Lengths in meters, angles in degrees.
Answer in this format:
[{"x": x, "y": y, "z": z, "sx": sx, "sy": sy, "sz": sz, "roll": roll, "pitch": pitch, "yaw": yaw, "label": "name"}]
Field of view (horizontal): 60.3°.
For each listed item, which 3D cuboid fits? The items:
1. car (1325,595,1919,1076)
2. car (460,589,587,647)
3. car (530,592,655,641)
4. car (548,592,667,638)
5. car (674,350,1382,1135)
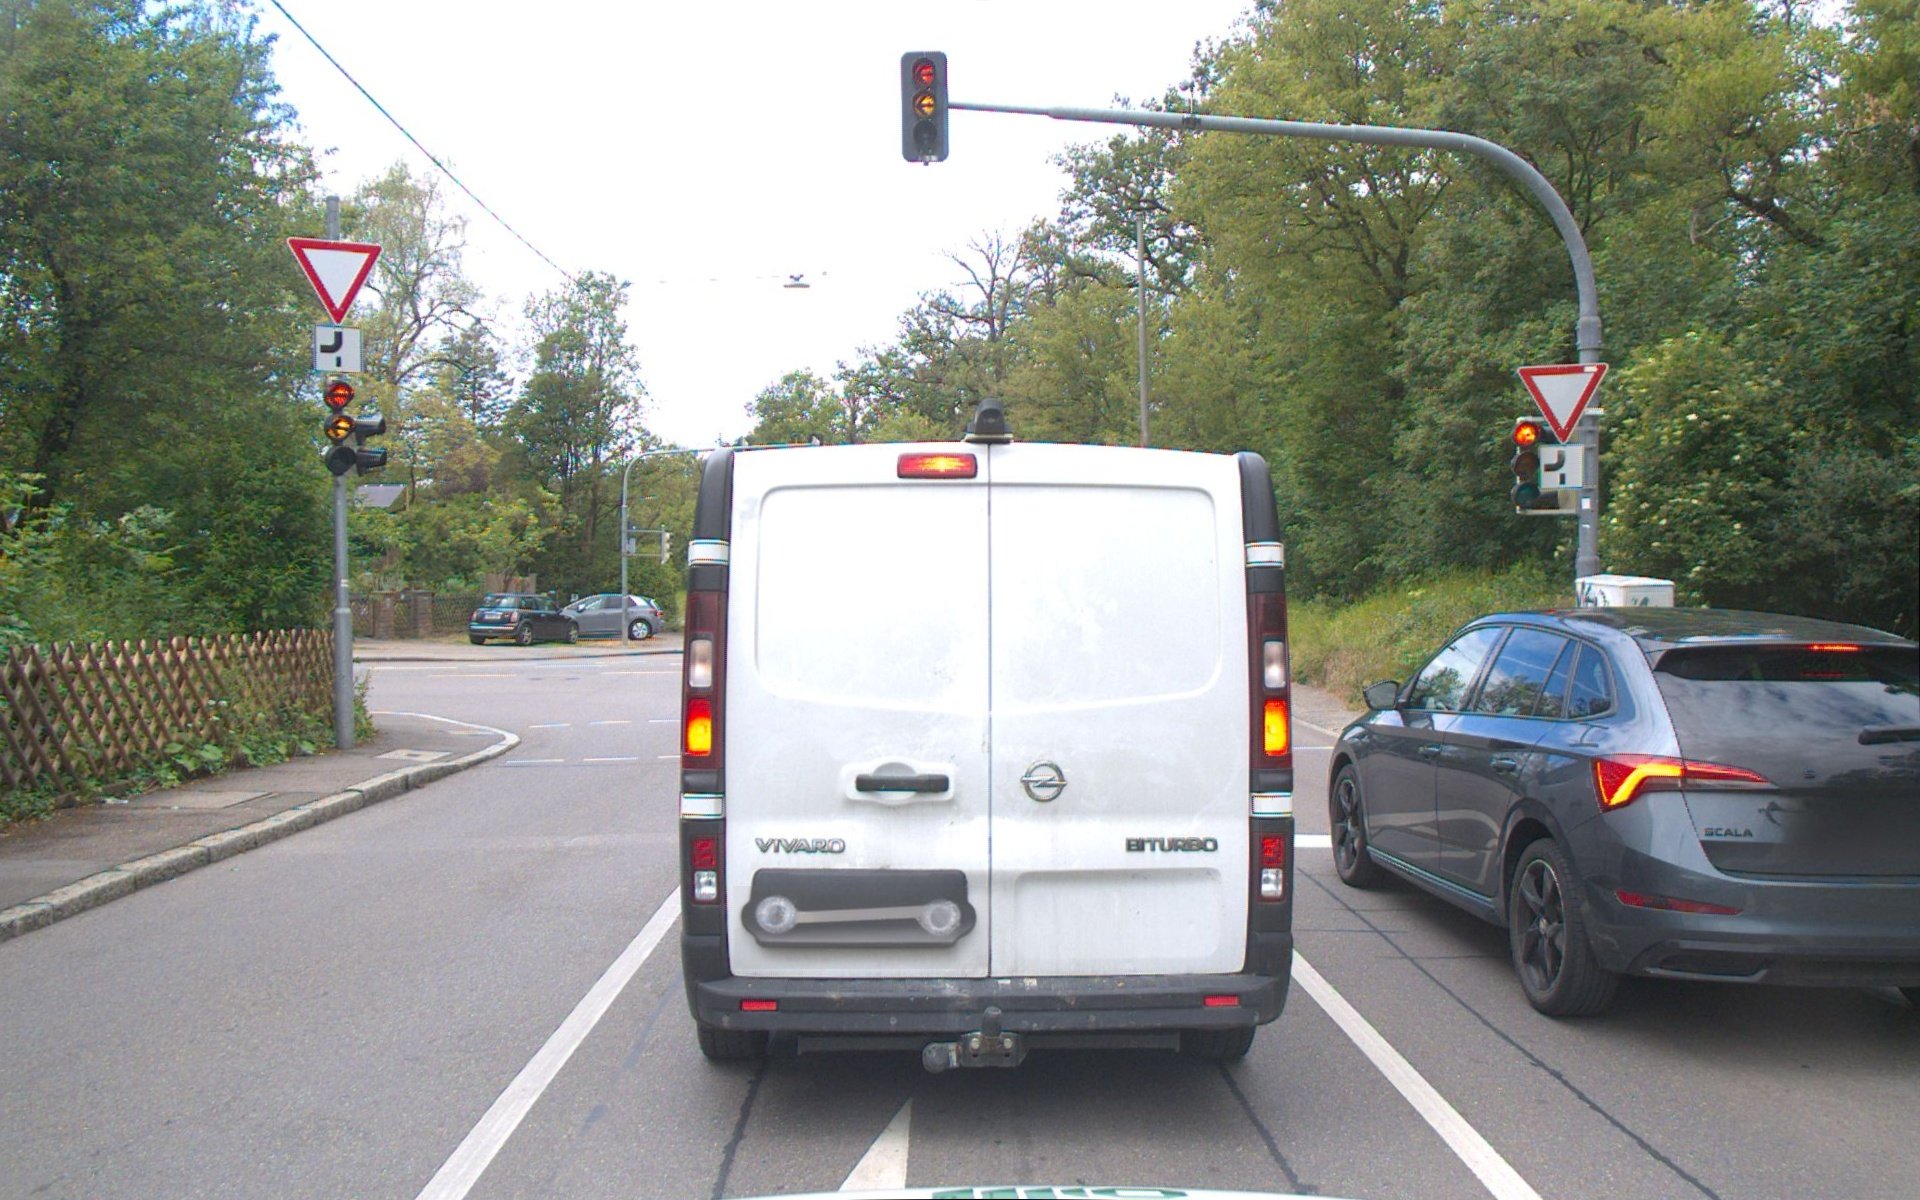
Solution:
[{"x": 2.965, "y": 0.728, "z": 7.187, "sx": 1.756, "sy": 1.476, "sz": 3.999, "roll": 0, "pitch": 0, "yaw": -2, "label": "car"}, {"x": -12.048, "y": 0.480, "z": 45.853, "sx": 1.662, "sy": 1.474, "sz": 3.544, "roll": 2, "pitch": 0, "yaw": 19, "label": "car"}, {"x": -12.491, "y": 0.545, "z": 56.137, "sx": 4.023, "sy": 1.580, "sz": 1.845, "roll": 0, "pitch": 1, "yaw": -18, "label": "car"}, {"x": -12.645, "y": 0.520, "z": 59.222, "sx": 4.023, "sy": 1.580, "sz": 1.845, "roll": 0, "pitch": 1, "yaw": -18, "label": "car"}, {"x": 0.079, "y": 0.383, "z": 6.786, "sx": 1.878, "sy": 2.089, "sz": 4.611, "roll": 1, "pitch": 0, "yaw": -3, "label": "car"}]
